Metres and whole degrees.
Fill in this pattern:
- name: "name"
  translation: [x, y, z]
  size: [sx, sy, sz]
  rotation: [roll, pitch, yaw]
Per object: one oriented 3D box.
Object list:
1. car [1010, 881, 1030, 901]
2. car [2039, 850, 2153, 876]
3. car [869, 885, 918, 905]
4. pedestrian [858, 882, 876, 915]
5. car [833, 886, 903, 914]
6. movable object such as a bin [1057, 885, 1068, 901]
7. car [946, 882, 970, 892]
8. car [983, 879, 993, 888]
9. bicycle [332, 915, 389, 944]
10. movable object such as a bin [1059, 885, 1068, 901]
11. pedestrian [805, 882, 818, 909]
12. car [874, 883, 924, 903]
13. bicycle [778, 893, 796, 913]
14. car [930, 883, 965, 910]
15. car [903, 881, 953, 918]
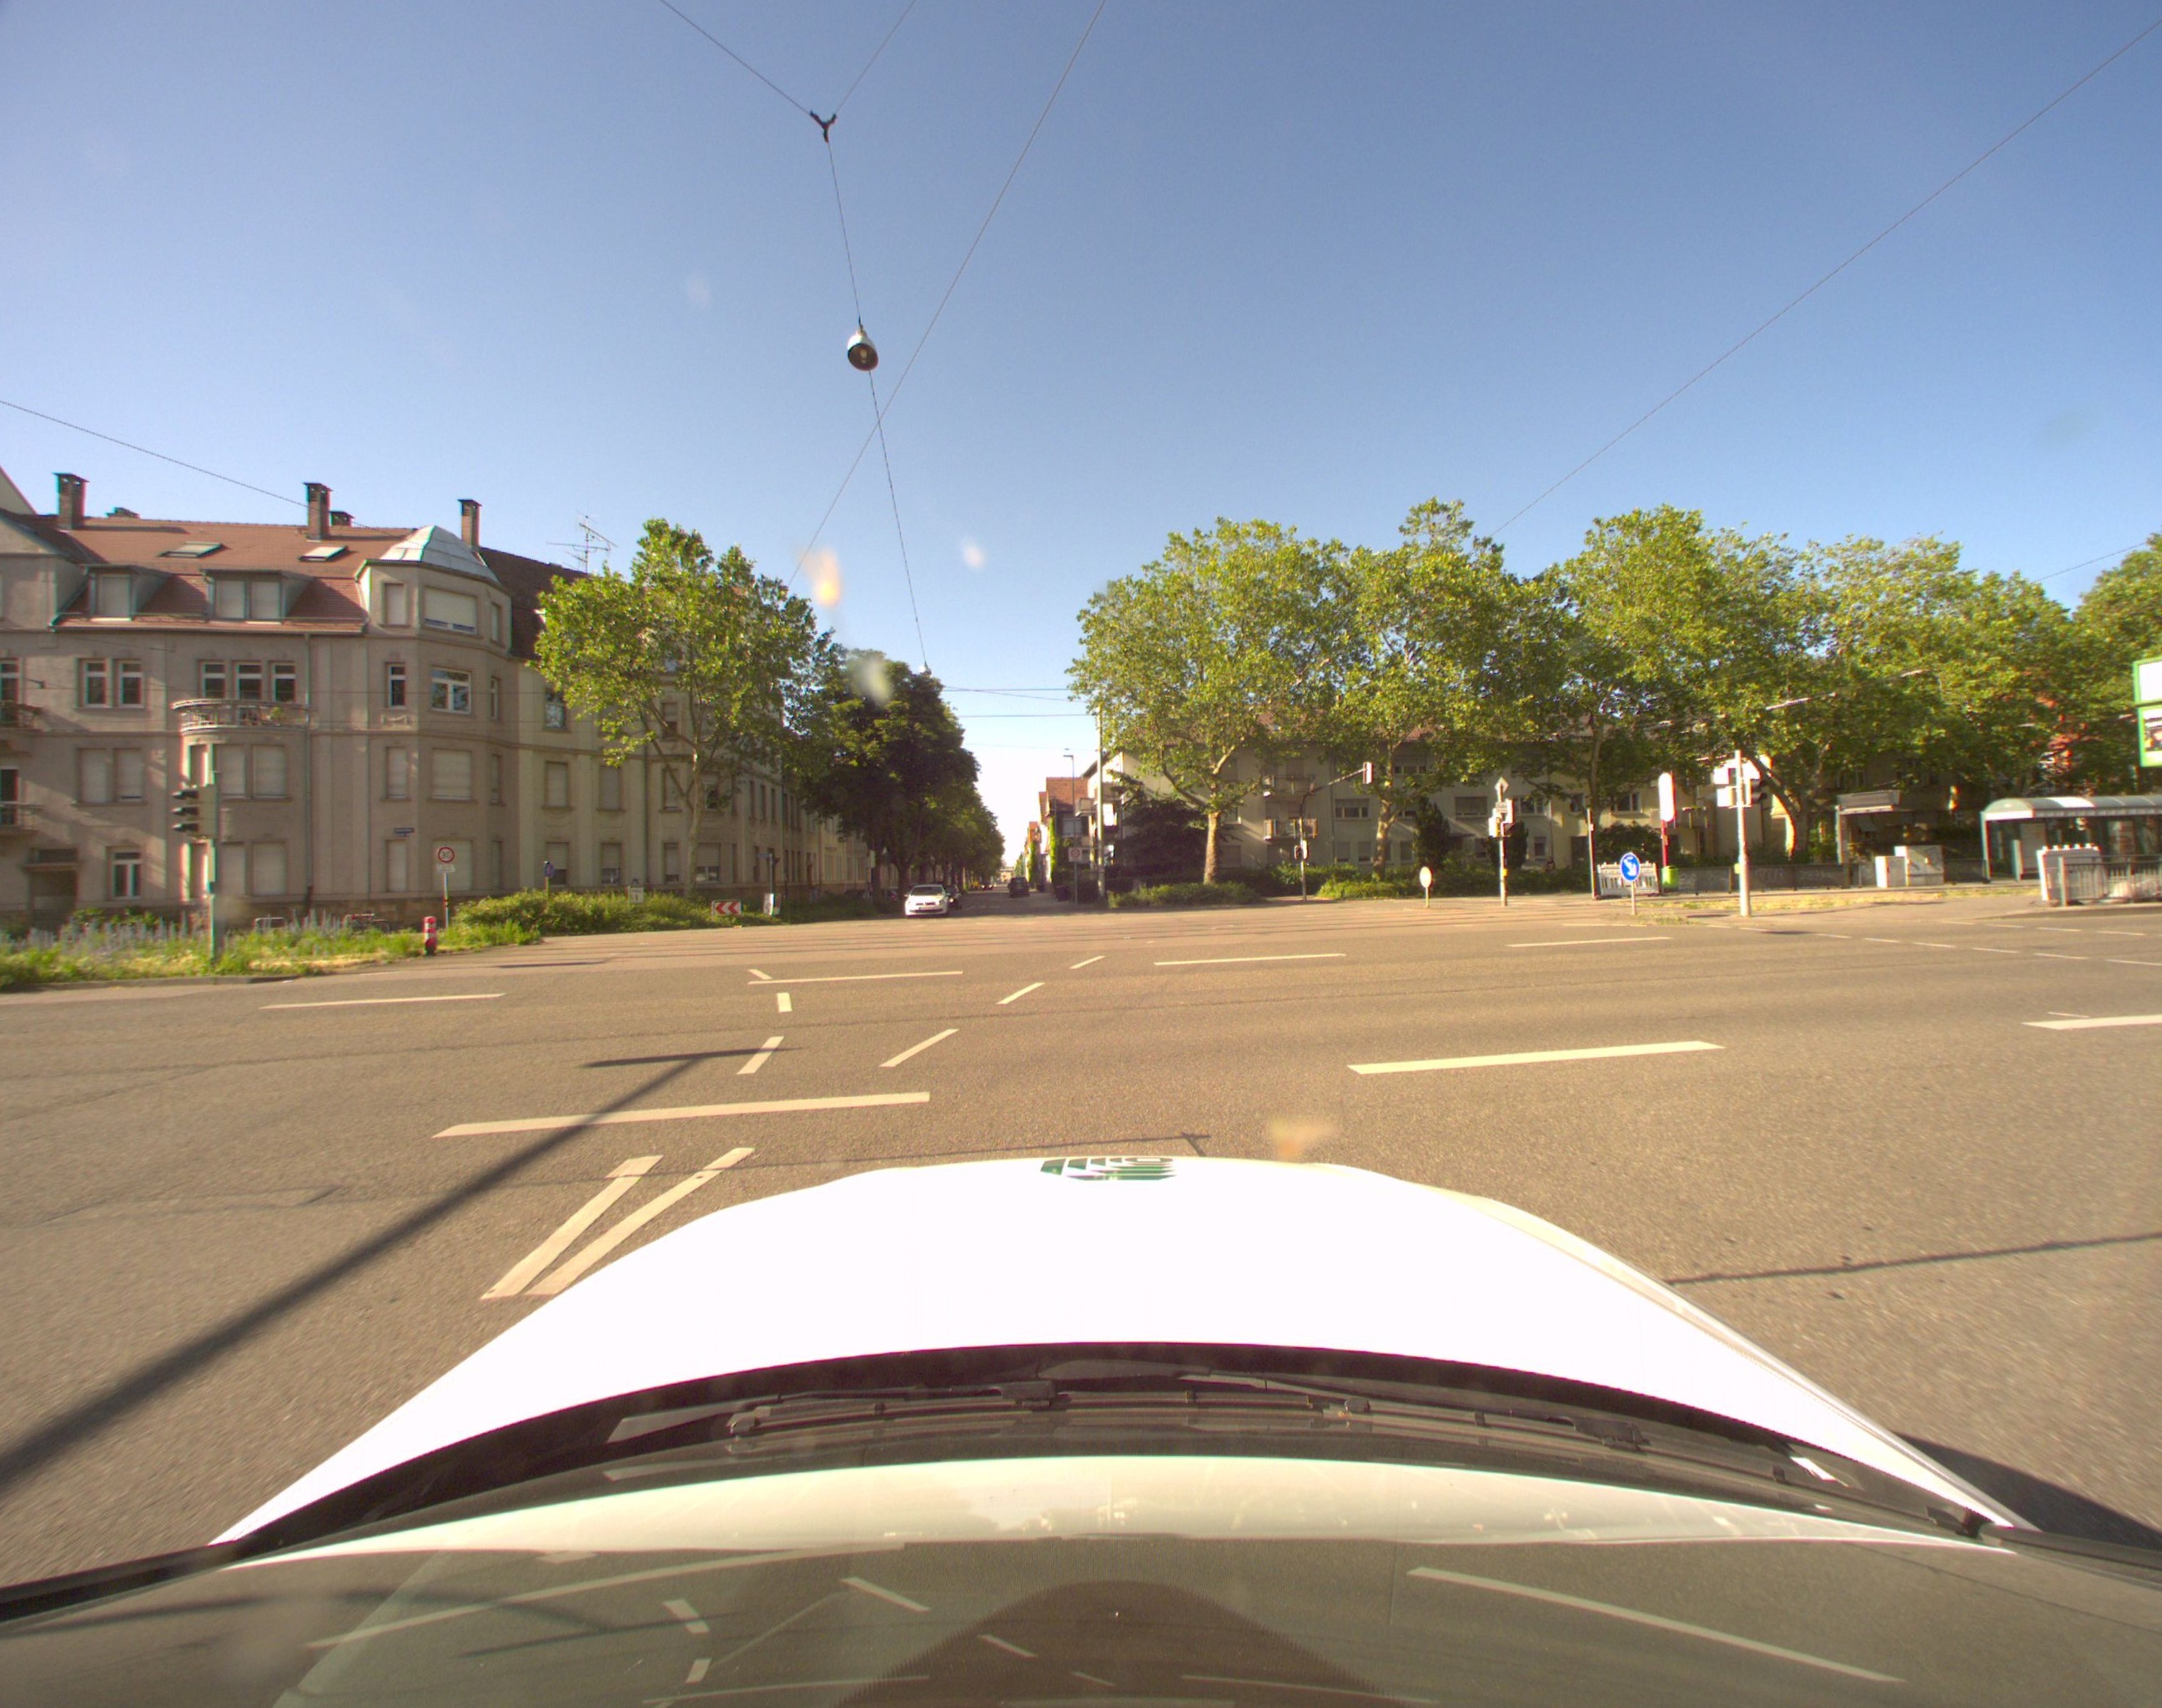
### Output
- name: "car"
  translation: [-6.077, 3.666, 80.602]
  size: [1.862, 1.916, 4.773]
  rotation: [1, -2, -5]
- name: "car"
  translation: [55.992, 0.510, 44.983]
  size: [3.857, 1.409, 1.831]
  rotation: [0, -1, 4]
- name: "car"
  translation: [-14.502, 3.194, 62.987]
  size: [3.426, 1.452, 1.701]
  rotation: [-1, -3, -4]
- name: "pedestrian"
  translation: [-11.122, 2.290, 42.296]
  size: [0.690, 1.682, 0.681]
  rotation: [-2, -2, 5]
- name: "car"
  translation: [-12.960, 2.762, 49.658]
  size: [3.877, 1.476, 1.612]
  rotation: [-3, -2, -6]
- name: "movable object such as a bin"
  translation: [-1.319, 2.771, 57.455]
  size: [0.596, 1.044, 0.705]
  rotation: [-5, -2, -8]
- name: "car"
  translation: [-20.429, 5.463, 135.116]
  size: [3.986, 1.761, 1.792]
  rotation: [1, -3, -9]
- name: "car"
  translation: [-16.079, 5.165, 141.112]
  size: [1.639, 1.508, 3.694]
  rotation: [-3, -2, -6]
- name: "bicycle"
  translation: [-25.065, 2.632, 28.355]
  size: [1.434, 0.905, 0.495]
  rotation: [-2, -2, -10]
- name: "movable object such as a bin"
  translation: [-1.273, 2.784, 58.272]
  size: [0.483, 1.044, 0.655]
  rotation: [-5, -2, -8]
- name: "pedestrian"
  translation: [-17.058, 2.604, 51.628]
  size: [0.458, 1.658, 0.895]
  rotation: [-2, -2, 3]
- name: "car"
  translation: [-15.743, 3.392, 70.582]
  size: [3.980, 1.508, 1.719]
  rotation: [-3, -2, -5]
- name: "bicycle"
  translation: [-18.125, 3.017, 50.196]
  size: [0.513, 1.154, 1.979]
  rotation: [1, -1, -5]
- name: "car"
  translation: [-7.818, 2.459, 47.816]
  size: [1.657, 1.464, 3.802]
  rotation: [-2, -2, -4]
- name: "car"
  translation: [-6.693, 2.008, 35.923]
  size: [1.804, 1.458, 3.991]
  rotation: [-2, -3, -6]
